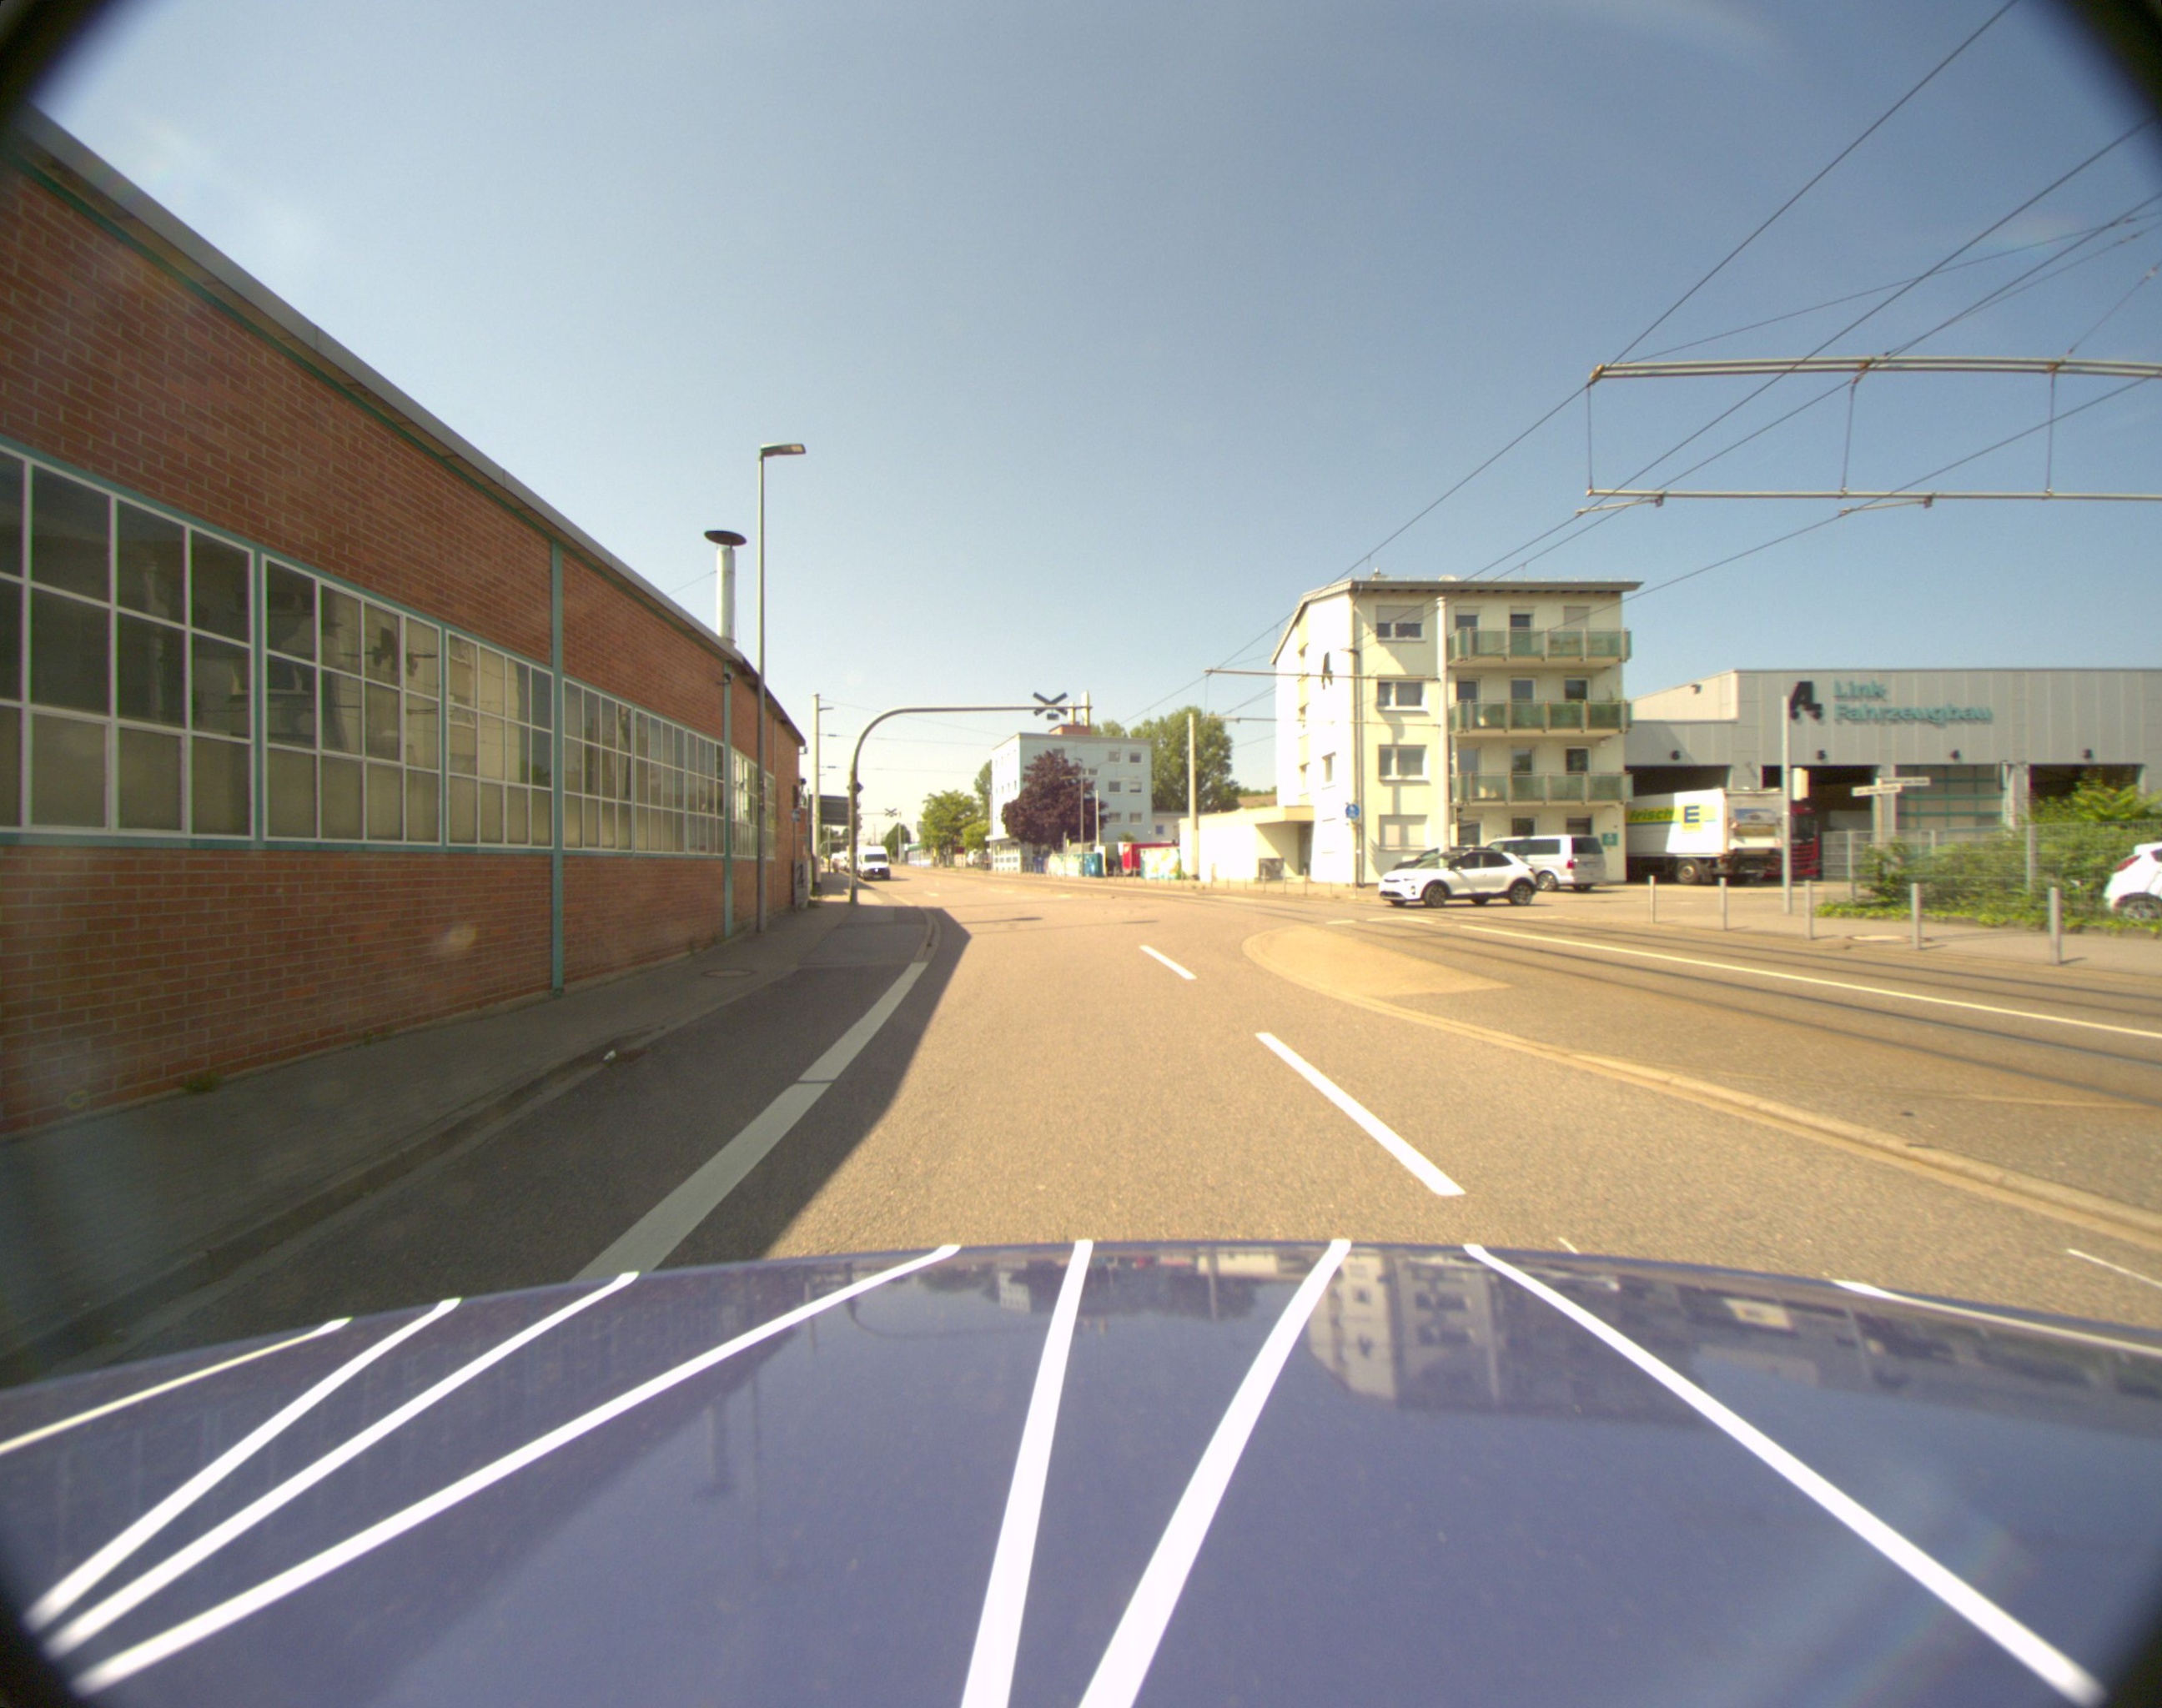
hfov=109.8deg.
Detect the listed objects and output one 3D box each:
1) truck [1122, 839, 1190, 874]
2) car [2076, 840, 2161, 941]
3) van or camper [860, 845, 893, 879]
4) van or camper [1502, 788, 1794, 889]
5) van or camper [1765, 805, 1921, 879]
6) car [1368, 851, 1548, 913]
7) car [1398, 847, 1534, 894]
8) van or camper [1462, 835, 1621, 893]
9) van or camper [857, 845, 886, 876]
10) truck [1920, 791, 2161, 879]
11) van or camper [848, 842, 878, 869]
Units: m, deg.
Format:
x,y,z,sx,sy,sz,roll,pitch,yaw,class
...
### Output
x,y,z,sx,sy,sz,roll,pitch,yaw,class
5.882,0.184,59.908,4.836,2.611,2.186,-1,0,-14,truck
16.321,0.523,9.852,1.711,1.425,3.955,-1,1,1,car
-15.842,0.597,58.688,2.046,2.519,5.859,-1,0,-19,van or camper
23.918,-0.787,33.473,2.781,3.672,11.624,0,2,-8,van or camper
35.123,-0.486,35.266,1.999,3.186,5.058,-1,-1,-3,van or camper
10.150,0.719,20.566,4.109,1.521,1.736,-1,0,-8,car
13.511,0.549,26.931,1.883,1.512,3.965,-1,0,-26,car
16.172,0.311,26.986,2.002,1.897,4.547,0,0,-21,van or camper
-18.005,0.568,65.098,2.046,2.519,5.572,0,0,-19,van or camper
46.061,-0.828,36.571,2.623,3.760,7.860,0,0,0,truck
-22.962,0.142,79.825,2.527,2.770,7.104,-1,0,-20,van or camper
